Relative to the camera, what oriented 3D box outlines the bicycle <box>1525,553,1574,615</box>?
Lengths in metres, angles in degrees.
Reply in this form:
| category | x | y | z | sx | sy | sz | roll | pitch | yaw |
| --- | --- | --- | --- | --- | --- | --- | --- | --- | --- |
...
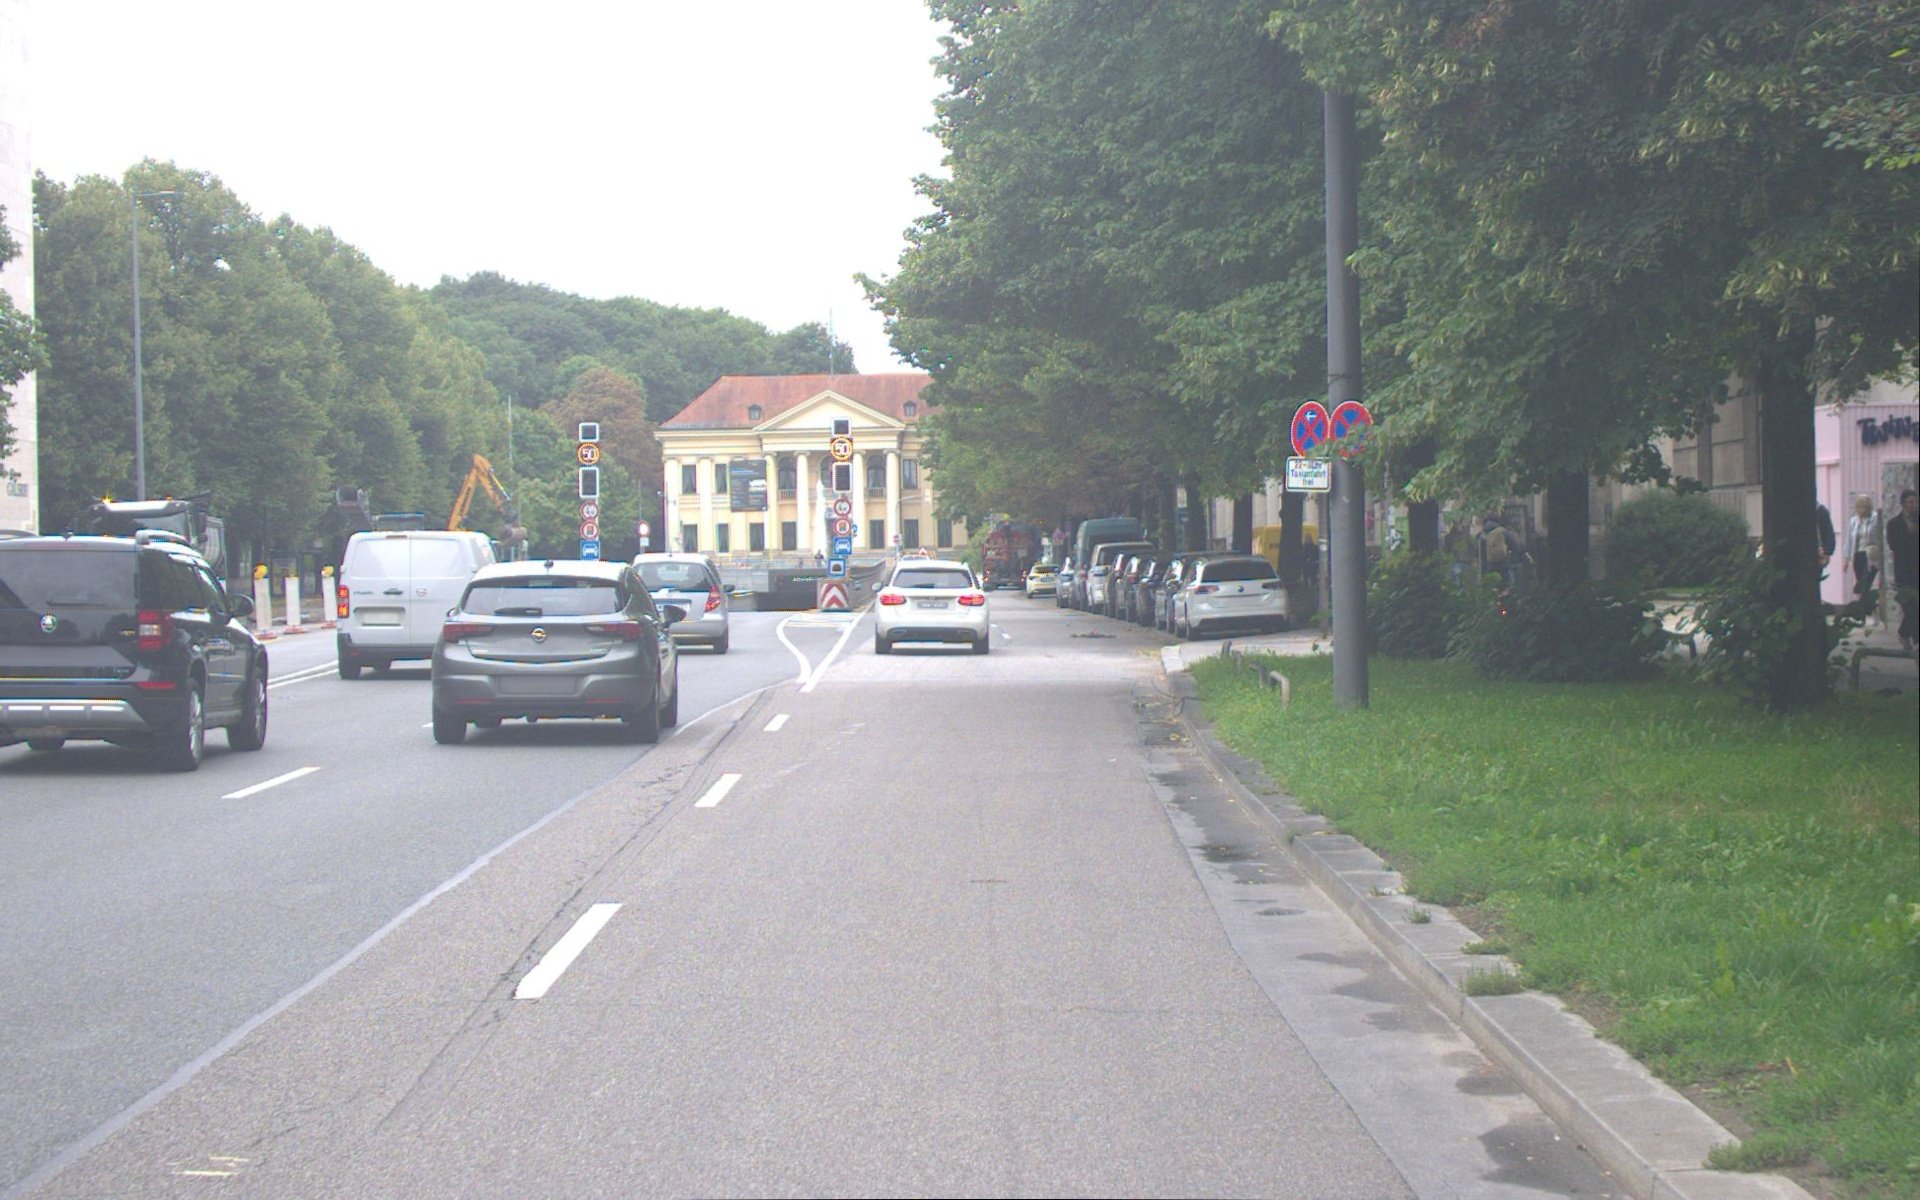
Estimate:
| category | x | y | z | sx | sy | sz | roll | pitch | yaw |
| --- | --- | --- | --- | --- | --- | --- | --- | --- | --- |
| bicycle | 13.574 | -0.374 | 79.175 | 0.699 | 1.410 | 2.299 | -1 | 1 | 0 |

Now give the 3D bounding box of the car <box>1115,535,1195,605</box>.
| category | x | y | z | sx | sy | sz | roll | pitch | yaw |
| --- | --- | --- | --- | --- | --- | --- | --- | --- | --- |
| car | 4.850 | -0.753 | 85.879 | 1.724 | 1.659 | 4.589 | -1 | 1 | 0 |

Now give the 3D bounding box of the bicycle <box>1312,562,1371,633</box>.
| category | x | y | z | sx | sy | sz | roll | pitch | yaw |
| --- | --- | --- | --- | --- | --- | --- | --- | --- | --- |
| bicycle | 6.776 | -0.053 | 61.157 | 0.628 | 1.227 | 2.619 | 0 | 1 | -2 |

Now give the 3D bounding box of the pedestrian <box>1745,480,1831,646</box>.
| category | x | y | z | sx | sy | sz | roll | pitch | yaw |
| --- | --- | --- | --- | --- | --- | --- | --- | --- | --- |
| pedestrian | 10.354 | -0.461 | 43.022 | 0.763 | 2.007 | 0.776 | -4 | 0 | 0 |

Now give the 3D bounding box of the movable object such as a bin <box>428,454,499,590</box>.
| category | x | y | z | sx | sy | sz | roll | pitch | yaw |
| --- | --- | --- | --- | --- | --- | --- | --- | --- | --- |
| movable object such as a bin | -24.092 | -3.768 | 166.869 | 2.699 | 6.488 | 5.176 | 0 | 1 | 0 |

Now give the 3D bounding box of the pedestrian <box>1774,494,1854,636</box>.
| category | x | y | z | sx | sy | sz | roll | pitch | yaw |
| --- | --- | --- | --- | --- | --- | --- | --- | --- | --- |
| pedestrian | 11.009 | -0.446 | 44.326 | 0.594 | 1.803 | 0.724 | -3 | 0 | -24 |

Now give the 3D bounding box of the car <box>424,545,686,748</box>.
| category | x | y | z | sx | sy | sz | roll | pitch | yaw |
| --- | --- | --- | --- | --- | --- | --- | --- | --- | --- |
| car | -3.280 | 0.336 | 28.462 | 1.710 | 1.547 | 4.000 | 0 | 1 | 0 |

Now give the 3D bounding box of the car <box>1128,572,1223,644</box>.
| category | x | y | z | sx | sy | sz | roll | pitch | yaw |
| --- | --- | --- | --- | --- | --- | --- | --- | --- | --- |
| car | 4.606 | 0.143 | 73.999 | 1.724 | 1.459 | 4.776 | -1 | 1 | 0 |

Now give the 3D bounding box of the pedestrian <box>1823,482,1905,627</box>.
| category | x | y | z | sx | sy | sz | roll | pitch | yaw |
| --- | --- | --- | --- | --- | --- | --- | --- | --- | --- |
| pedestrian | 11.485 | -0.573 | 43.678 | 0.594 | 1.803 | 0.724 | -3 | 0 | -24 |

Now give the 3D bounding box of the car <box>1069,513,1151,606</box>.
| category | x | y | z | sx | sy | sz | roll | pitch | yaw |
| --- | --- | --- | --- | --- | --- | --- | --- | --- | --- |
| car | 4.349 | -1.177 | 100.216 | 1.993 | 2.634 | 4.878 | 0 | 1 | -2 |

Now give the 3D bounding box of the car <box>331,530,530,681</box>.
| category | x | y | z | sx | sy | sz | roll | pitch | yaw |
| --- | --- | --- | --- | --- | --- | --- | --- | --- | --- |
| car | -6.865 | 0.054 | 45.010 | 1.898 | 1.841 | 4.956 | -1 | 0 | -1 |

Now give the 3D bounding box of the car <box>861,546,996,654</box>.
| category | x | y | z | sx | sy | sz | roll | pitch | yaw |
| --- | --- | --- | --- | --- | --- | --- | --- | --- | --- |
| car | -0.540 | -0.018 | 54.393 | 1.779 | 1.639 | 4.001 | 0 | 1 | -6 |

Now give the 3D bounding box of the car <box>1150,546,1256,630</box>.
| category | x | y | z | sx | sy | sz | roll | pitch | yaw |
| --- | --- | --- | --- | --- | --- | --- | --- | --- | --- |
| car | 4.702 | -0.243 | 67.045 | 1.724 | 1.544 | 4.585 | -1 | 1 | 0 |

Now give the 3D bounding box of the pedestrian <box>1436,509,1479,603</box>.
| category | x | y | z | sx | sy | sz | roll | pitch | yaw |
| --- | --- | --- | --- | --- | --- | --- | --- | --- | --- |
| pedestrian | 10.202 | -0.906 | 70.478 | 0.764 | 1.904 | 0.771 | 0 | 0 | 0 |

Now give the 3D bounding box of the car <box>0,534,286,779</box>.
| category | x | y | z | sx | sy | sz | roll | pitch | yaw |
| --- | --- | --- | --- | --- | --- | --- | --- | --- | --- |
| car | -6.195 | 0.371 | 25.240 | 1.722 | 1.631 | 4.205 | -1 | 0 | -1 |

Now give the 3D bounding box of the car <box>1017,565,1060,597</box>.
| category | x | y | z | sx | sy | sz | roll | pitch | yaw |
| --- | --- | --- | --- | --- | --- | --- | --- | --- | --- |
| car | 3.329 | -0.834 | 146.929 | 1.724 | 1.319 | 4.028 | -1 | 1 | 0 |

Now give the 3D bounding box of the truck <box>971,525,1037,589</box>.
| category | x | y | z | sx | sy | sz | roll | pitch | yaw |
| --- | --- | --- | --- | --- | --- | --- | --- | --- | --- |
| truck | 2.331 | -2.300 | 184.269 | 3.325 | 3.355 | 8.663 | 0 | 1 | 0 |

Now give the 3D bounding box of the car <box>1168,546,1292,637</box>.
| category | x | y | z | sx | sy | sz | roll | pitch | yaw |
| --- | --- | --- | --- | --- | --- | --- | --- | --- | --- |
| car | 4.833 | -0.166 | 62.084 | 1.827 | 1.544 | 4.751 | -1 | 1 | 0 |

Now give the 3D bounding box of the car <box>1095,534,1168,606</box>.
| category | x | y | z | sx | sy | sz | roll | pitch | yaw |
| --- | --- | --- | --- | --- | --- | --- | --- | --- | --- |
| car | 4.626 | -0.807 | 93.151 | 1.724 | 1.861 | 4.028 | -1 | 1 | 0 |

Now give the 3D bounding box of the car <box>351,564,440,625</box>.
| category | x | y | z | sx | sy | sz | roll | pitch | yaw |
| --- | --- | --- | --- | --- | --- | --- | --- | --- | --- |
| car | -15.483 | -0.152 | 94.400 | 1.993 | 1.590 | 4.001 | -1 | 1 | -4 |

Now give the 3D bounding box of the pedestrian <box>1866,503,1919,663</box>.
| category | x | y | z | sx | sy | sz | roll | pitch | yaw |
| --- | --- | --- | --- | --- | --- | --- | --- | --- | --- |
| pedestrian | 9.942 | -0.180 | 36.344 | 0.580 | 1.670 | 0.553 | 0 | 0 | 3 |

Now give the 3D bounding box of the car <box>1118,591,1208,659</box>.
| category | x | y | z | sx | sy | sz | roll | pitch | yaw |
| --- | --- | --- | --- | --- | --- | --- | --- | --- | --- |
| car | 4.664 | 0.558 | 79.475 | 1.822 | 1.459 | 4.028 | -1 | 1 | 0 |

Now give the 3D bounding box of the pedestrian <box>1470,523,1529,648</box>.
| category | x | y | z | sx | sy | sz | roll | pitch | yaw |
| --- | --- | --- | --- | --- | --- | --- | --- | --- | --- |
| pedestrian | 8.251 | -0.225 | 52.609 | 0.779 | 1.904 | 0.771 | 0 | 0 | 0 |

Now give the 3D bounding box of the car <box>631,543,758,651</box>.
| category | x | y | z | sx | sy | sz | roll | pitch | yaw |
| --- | --- | --- | --- | --- | --- | --- | --- | --- | --- |
| car | -4.198 | -0.071 | 54.784 | 1.779 | 1.648 | 4.000 | 0 | 1 | -1 |

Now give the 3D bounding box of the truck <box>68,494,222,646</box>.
| category | x | y | z | sx | sy | sz | roll | pitch | yaw |
| --- | --- | --- | --- | --- | --- | --- | --- | --- | --- |
| truck | -19.051 | -0.716 | 80.829 | 2.840 | 3.345 | 8.767 | 0 | 1 | -9 |
